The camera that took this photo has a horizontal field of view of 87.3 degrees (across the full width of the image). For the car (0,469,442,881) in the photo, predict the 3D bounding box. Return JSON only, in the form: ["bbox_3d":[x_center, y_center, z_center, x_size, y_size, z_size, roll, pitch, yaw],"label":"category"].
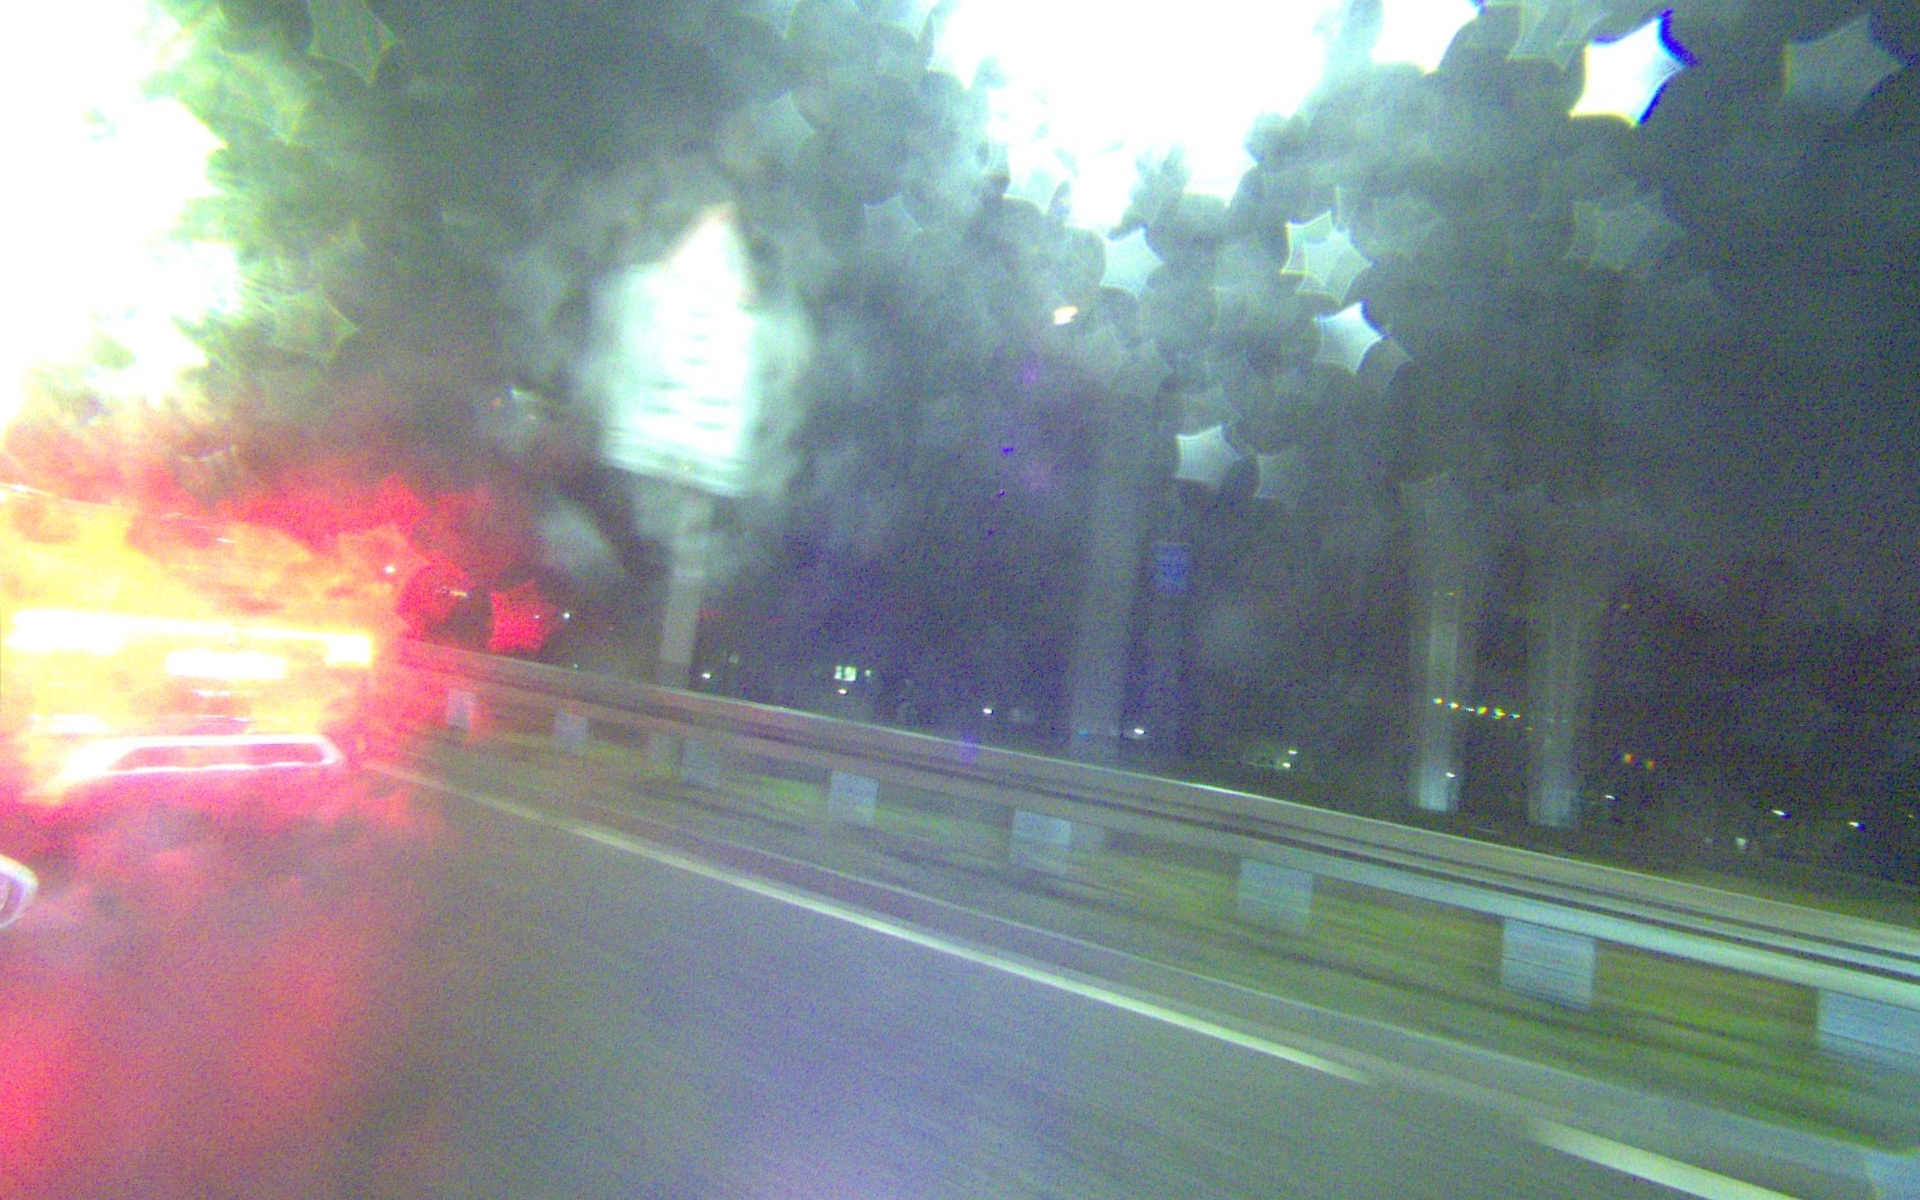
[{"bbox_3d":[-5.066,0.178,5.563,3.930,1.605,1.860,6,-1,27],"label":"car"}]
